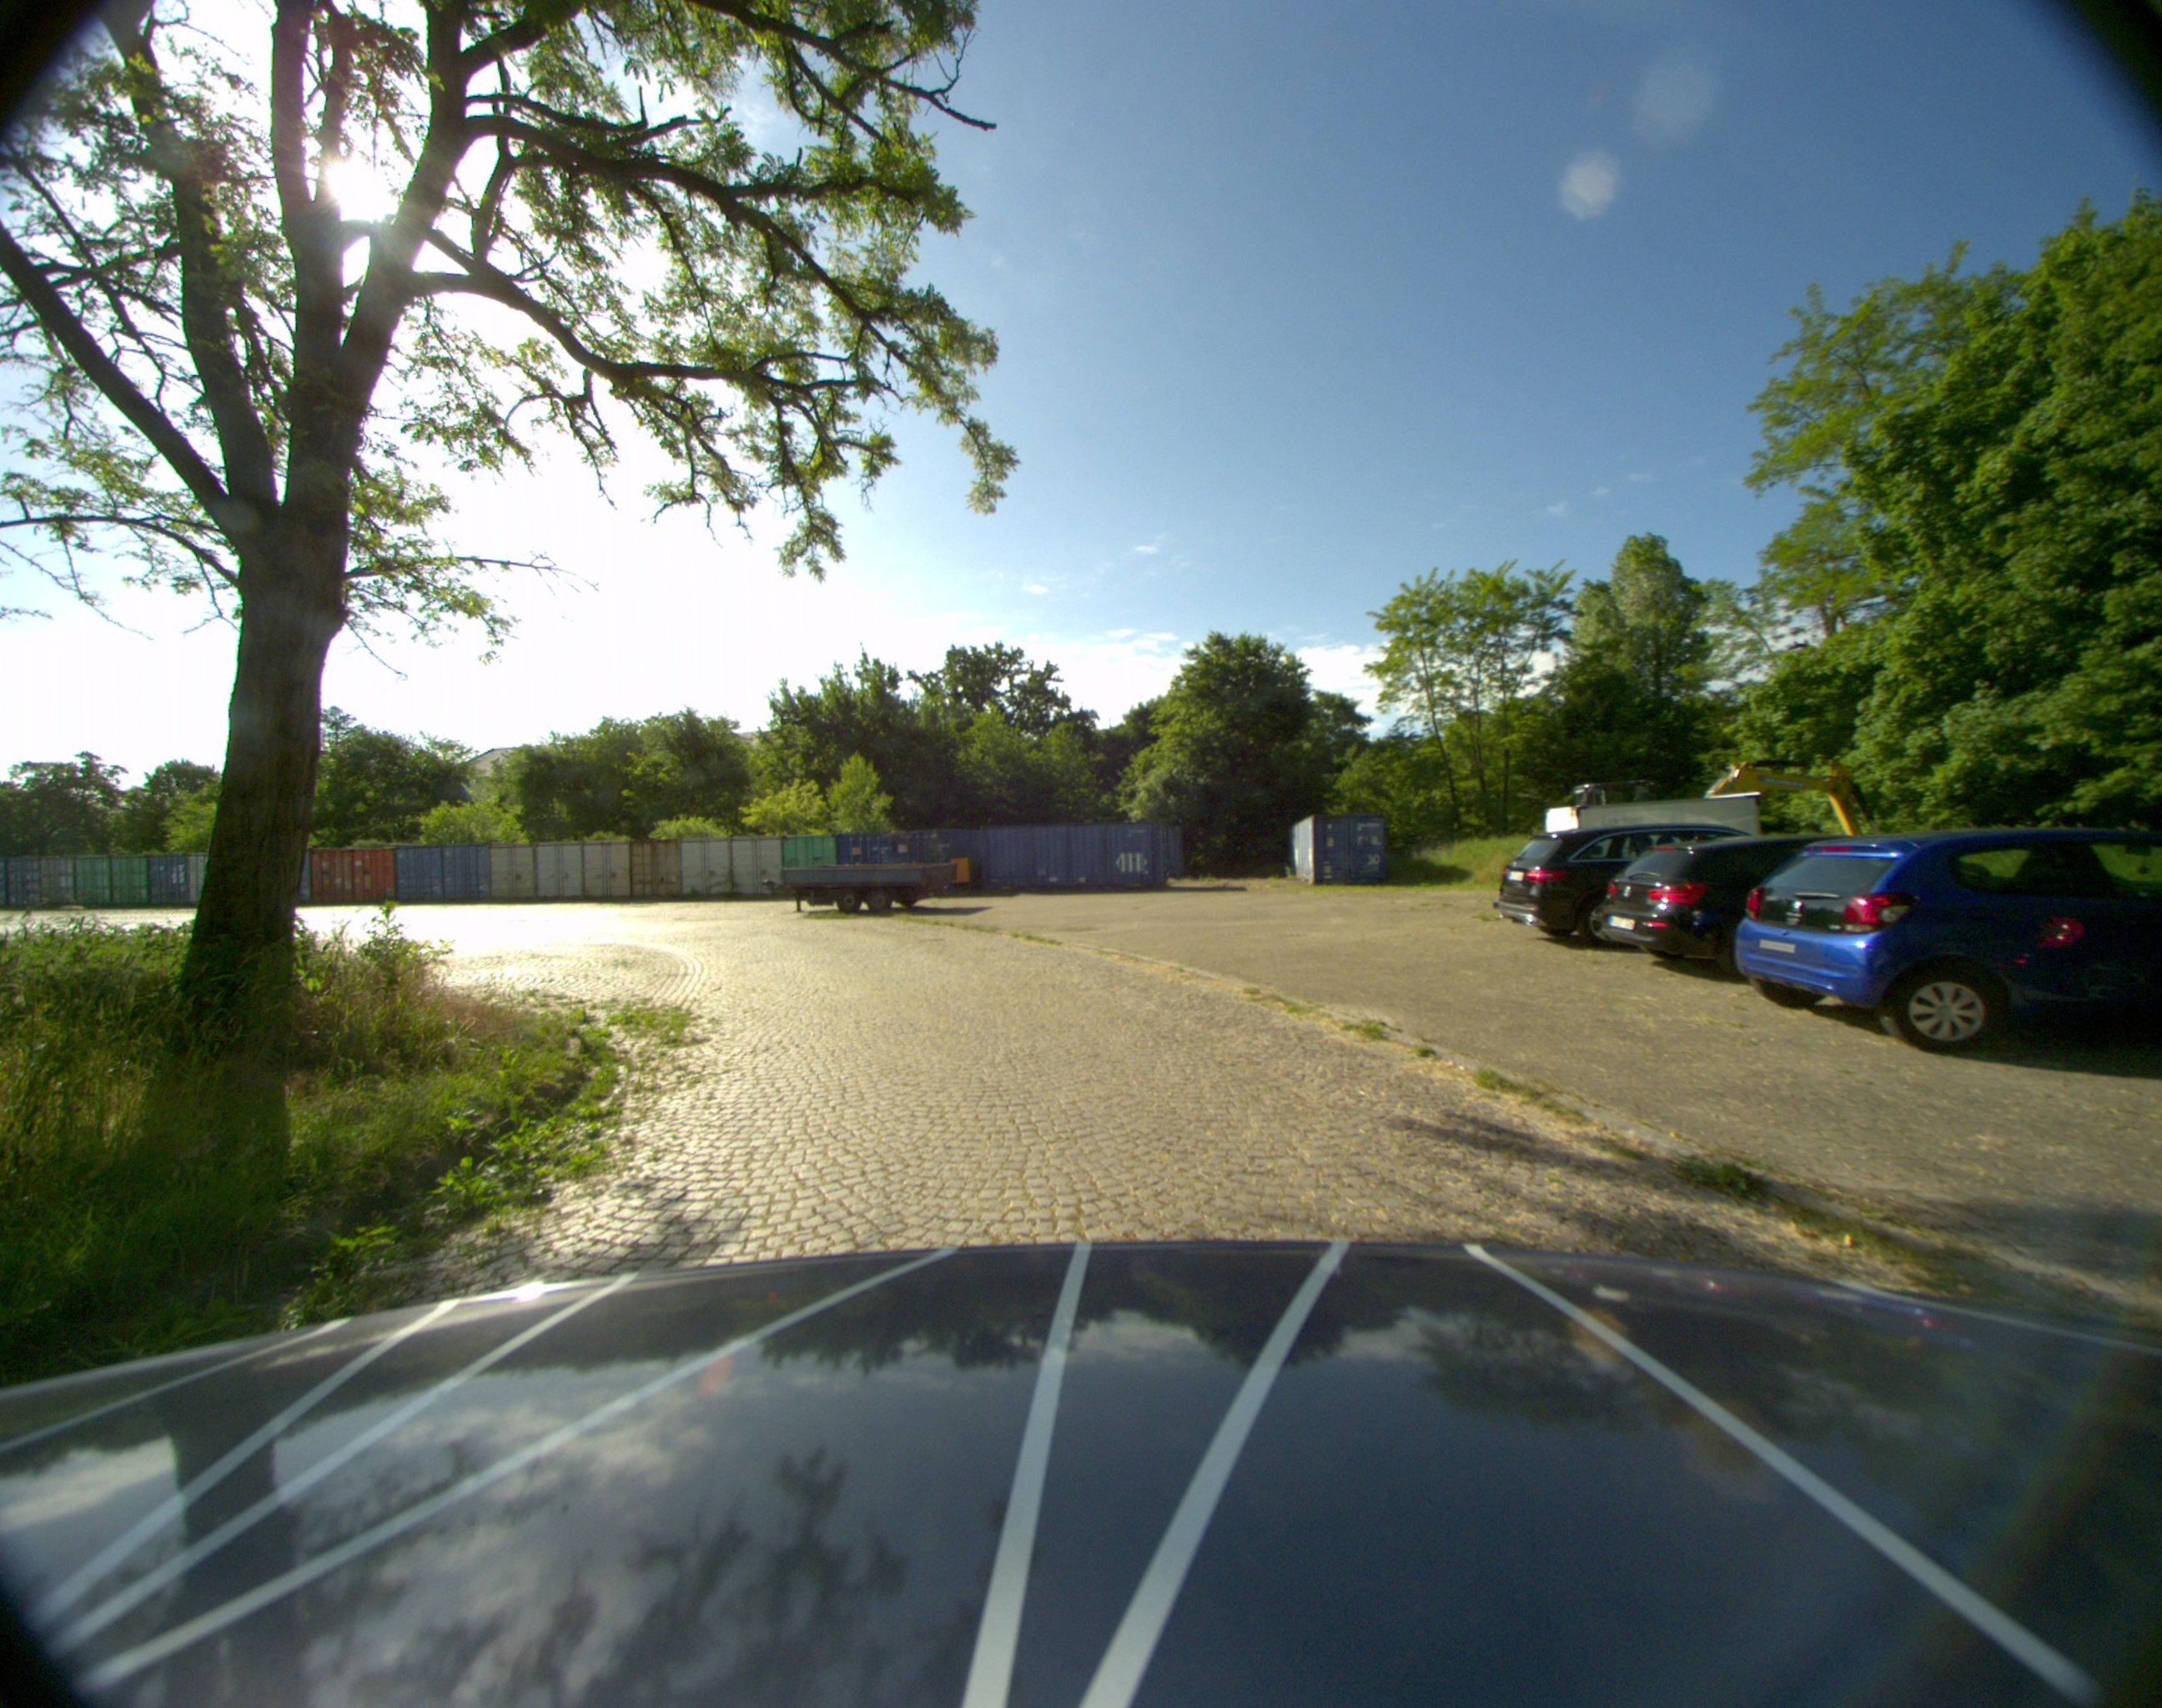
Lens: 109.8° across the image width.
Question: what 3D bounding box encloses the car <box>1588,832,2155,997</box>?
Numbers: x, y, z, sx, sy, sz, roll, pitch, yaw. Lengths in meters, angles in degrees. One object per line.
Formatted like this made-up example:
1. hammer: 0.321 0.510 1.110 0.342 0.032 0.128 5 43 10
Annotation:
1. car: 7.725 0.578 7.879 3.657 1.442 1.836 -2 0 12

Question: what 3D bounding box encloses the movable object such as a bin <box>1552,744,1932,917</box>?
1. movable object such as a bin: 12.370 -0.348 14.700 5.154 2.949 2.002 -1 1 16

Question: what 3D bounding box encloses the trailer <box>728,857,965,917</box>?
1. trailer: -7.246 1.021 23.888 6.482 1.509 2.857 -2 1 12

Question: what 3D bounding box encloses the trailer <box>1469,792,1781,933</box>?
1. trailer: 9.099 0.171 13.067 3.966 2.081 1.641 -3 0 13

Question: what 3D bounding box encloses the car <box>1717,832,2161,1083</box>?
1. car: 7.097 0.618 5.310 3.657 1.484 1.716 -2 0 14

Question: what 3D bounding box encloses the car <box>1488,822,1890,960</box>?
1. car: 7.906 0.494 10.328 3.813 1.631 1.870 -2 0 14
